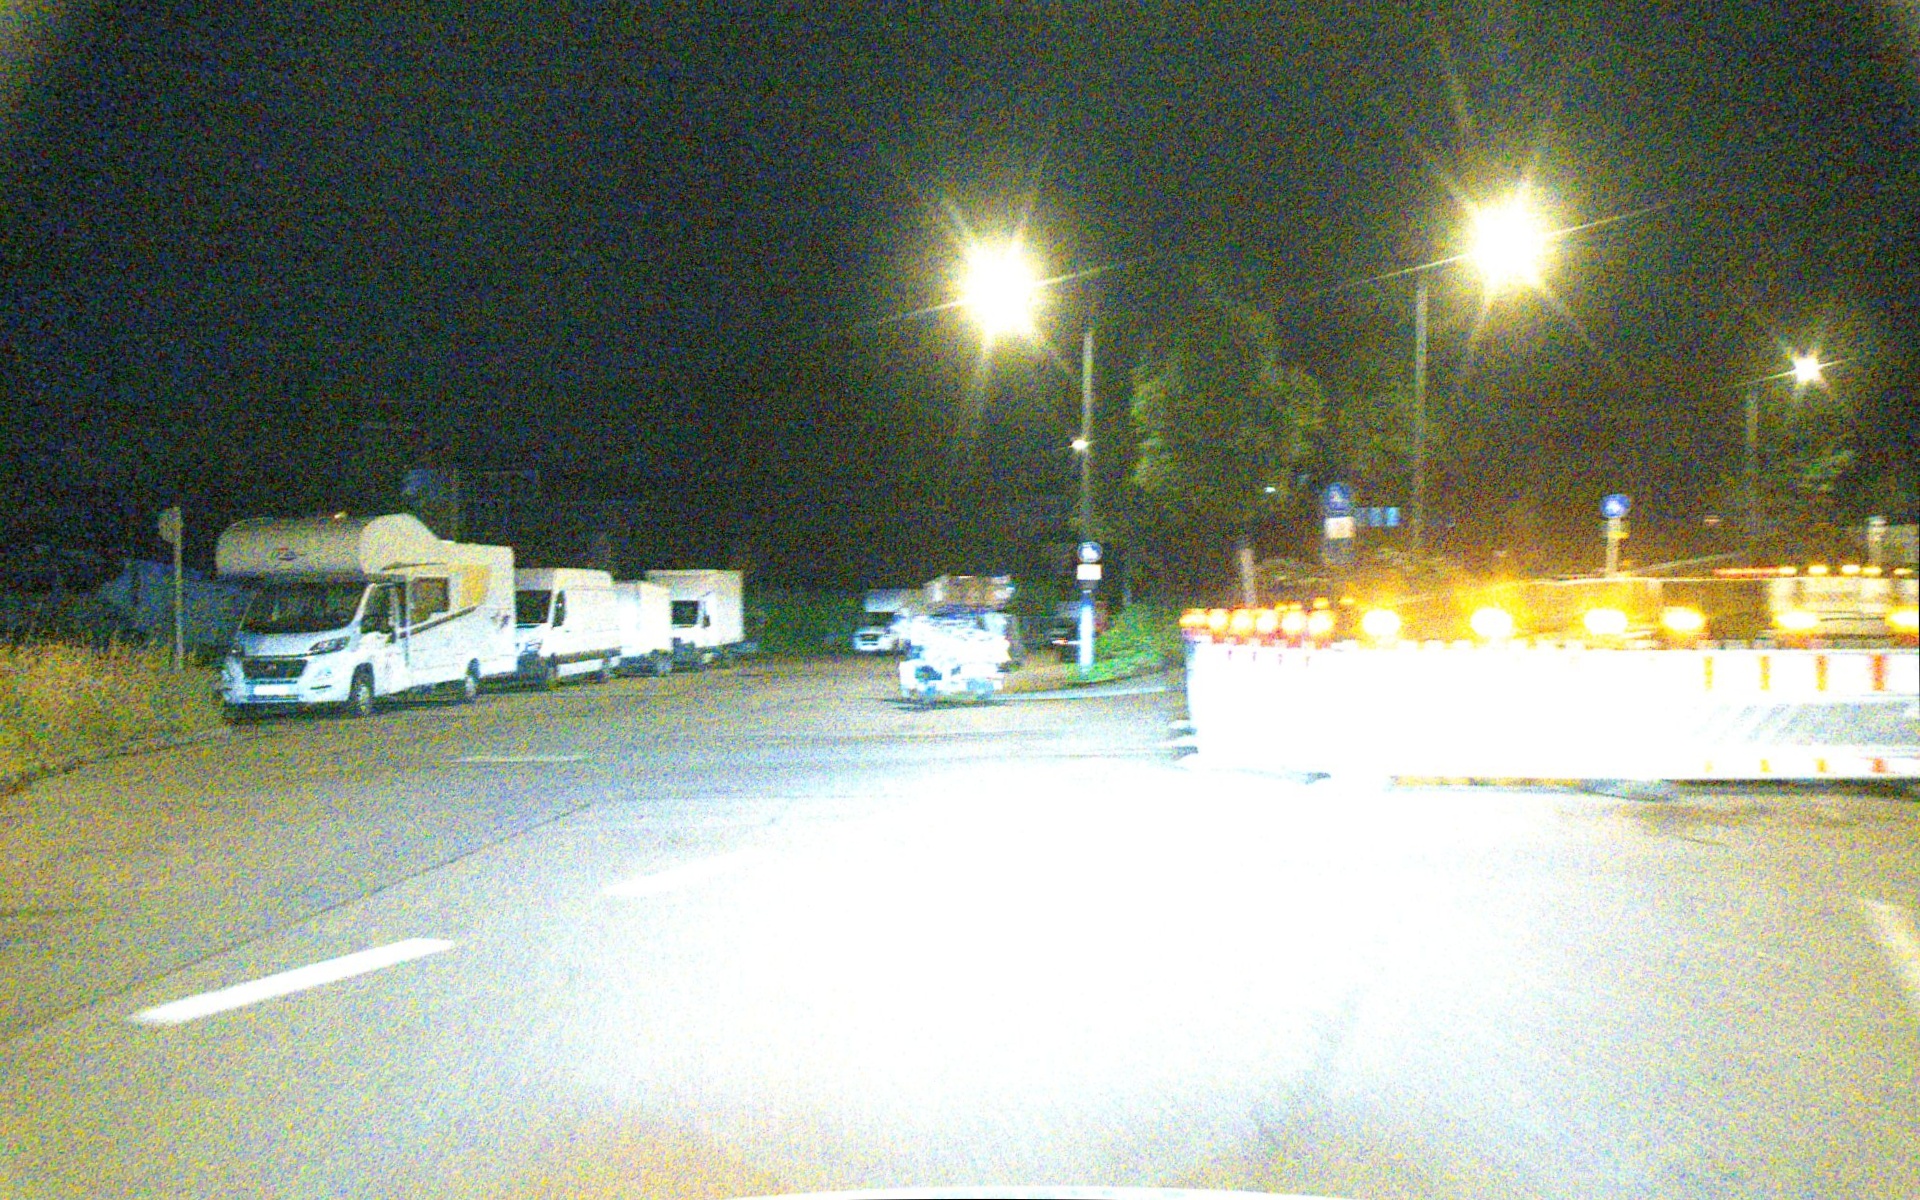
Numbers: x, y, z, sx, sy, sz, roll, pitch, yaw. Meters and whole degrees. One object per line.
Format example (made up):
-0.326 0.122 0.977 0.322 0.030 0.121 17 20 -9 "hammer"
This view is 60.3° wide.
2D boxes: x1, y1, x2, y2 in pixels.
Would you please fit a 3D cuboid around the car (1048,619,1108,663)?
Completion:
5.291 1.822 73.645 1.685 1.853 4.001 1 -1 19 "car"

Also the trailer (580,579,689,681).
-8.596 0.773 43.964 1.952 2.572 3.569 -1 0 4 "trailer"

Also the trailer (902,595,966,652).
-1.333 1.191 87.045 1.952 2.862 4.705 0 0 18 "trailer"

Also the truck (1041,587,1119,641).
8.330 0.942 113.777 1.955 3.463 8.968 2 1 27 "truck"

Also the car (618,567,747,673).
-8.415 0.600 50.966 2.466 2.979 7.203 -1 -1 2 "car"

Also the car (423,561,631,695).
-9.423 0.601 36.846 2.466 2.652 7.093 -1 -1 2 "car"

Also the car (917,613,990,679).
-0.138 1.247 45.733 1.684 1.690 4.002 2 -1 4 "car"

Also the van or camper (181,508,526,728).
-9.763 0.294 27.651 2.466 3.148 7.449 -1 -1 5 "van or camper"

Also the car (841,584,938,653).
-3.362 0.893 80.903 2.466 3.227 7.141 -1 -1 17 "car"

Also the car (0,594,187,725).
-21.825 1.341 38.970 1.955 2.891 6.671 2 1 28 "car"

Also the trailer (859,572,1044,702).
-0.274 0.676 30.735 1.538 2.198 5.183 0 -1 -23 "trailer"

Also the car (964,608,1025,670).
1.136 1.250 52.873 1.684 1.853 4.002 2 -1 4 "car"
